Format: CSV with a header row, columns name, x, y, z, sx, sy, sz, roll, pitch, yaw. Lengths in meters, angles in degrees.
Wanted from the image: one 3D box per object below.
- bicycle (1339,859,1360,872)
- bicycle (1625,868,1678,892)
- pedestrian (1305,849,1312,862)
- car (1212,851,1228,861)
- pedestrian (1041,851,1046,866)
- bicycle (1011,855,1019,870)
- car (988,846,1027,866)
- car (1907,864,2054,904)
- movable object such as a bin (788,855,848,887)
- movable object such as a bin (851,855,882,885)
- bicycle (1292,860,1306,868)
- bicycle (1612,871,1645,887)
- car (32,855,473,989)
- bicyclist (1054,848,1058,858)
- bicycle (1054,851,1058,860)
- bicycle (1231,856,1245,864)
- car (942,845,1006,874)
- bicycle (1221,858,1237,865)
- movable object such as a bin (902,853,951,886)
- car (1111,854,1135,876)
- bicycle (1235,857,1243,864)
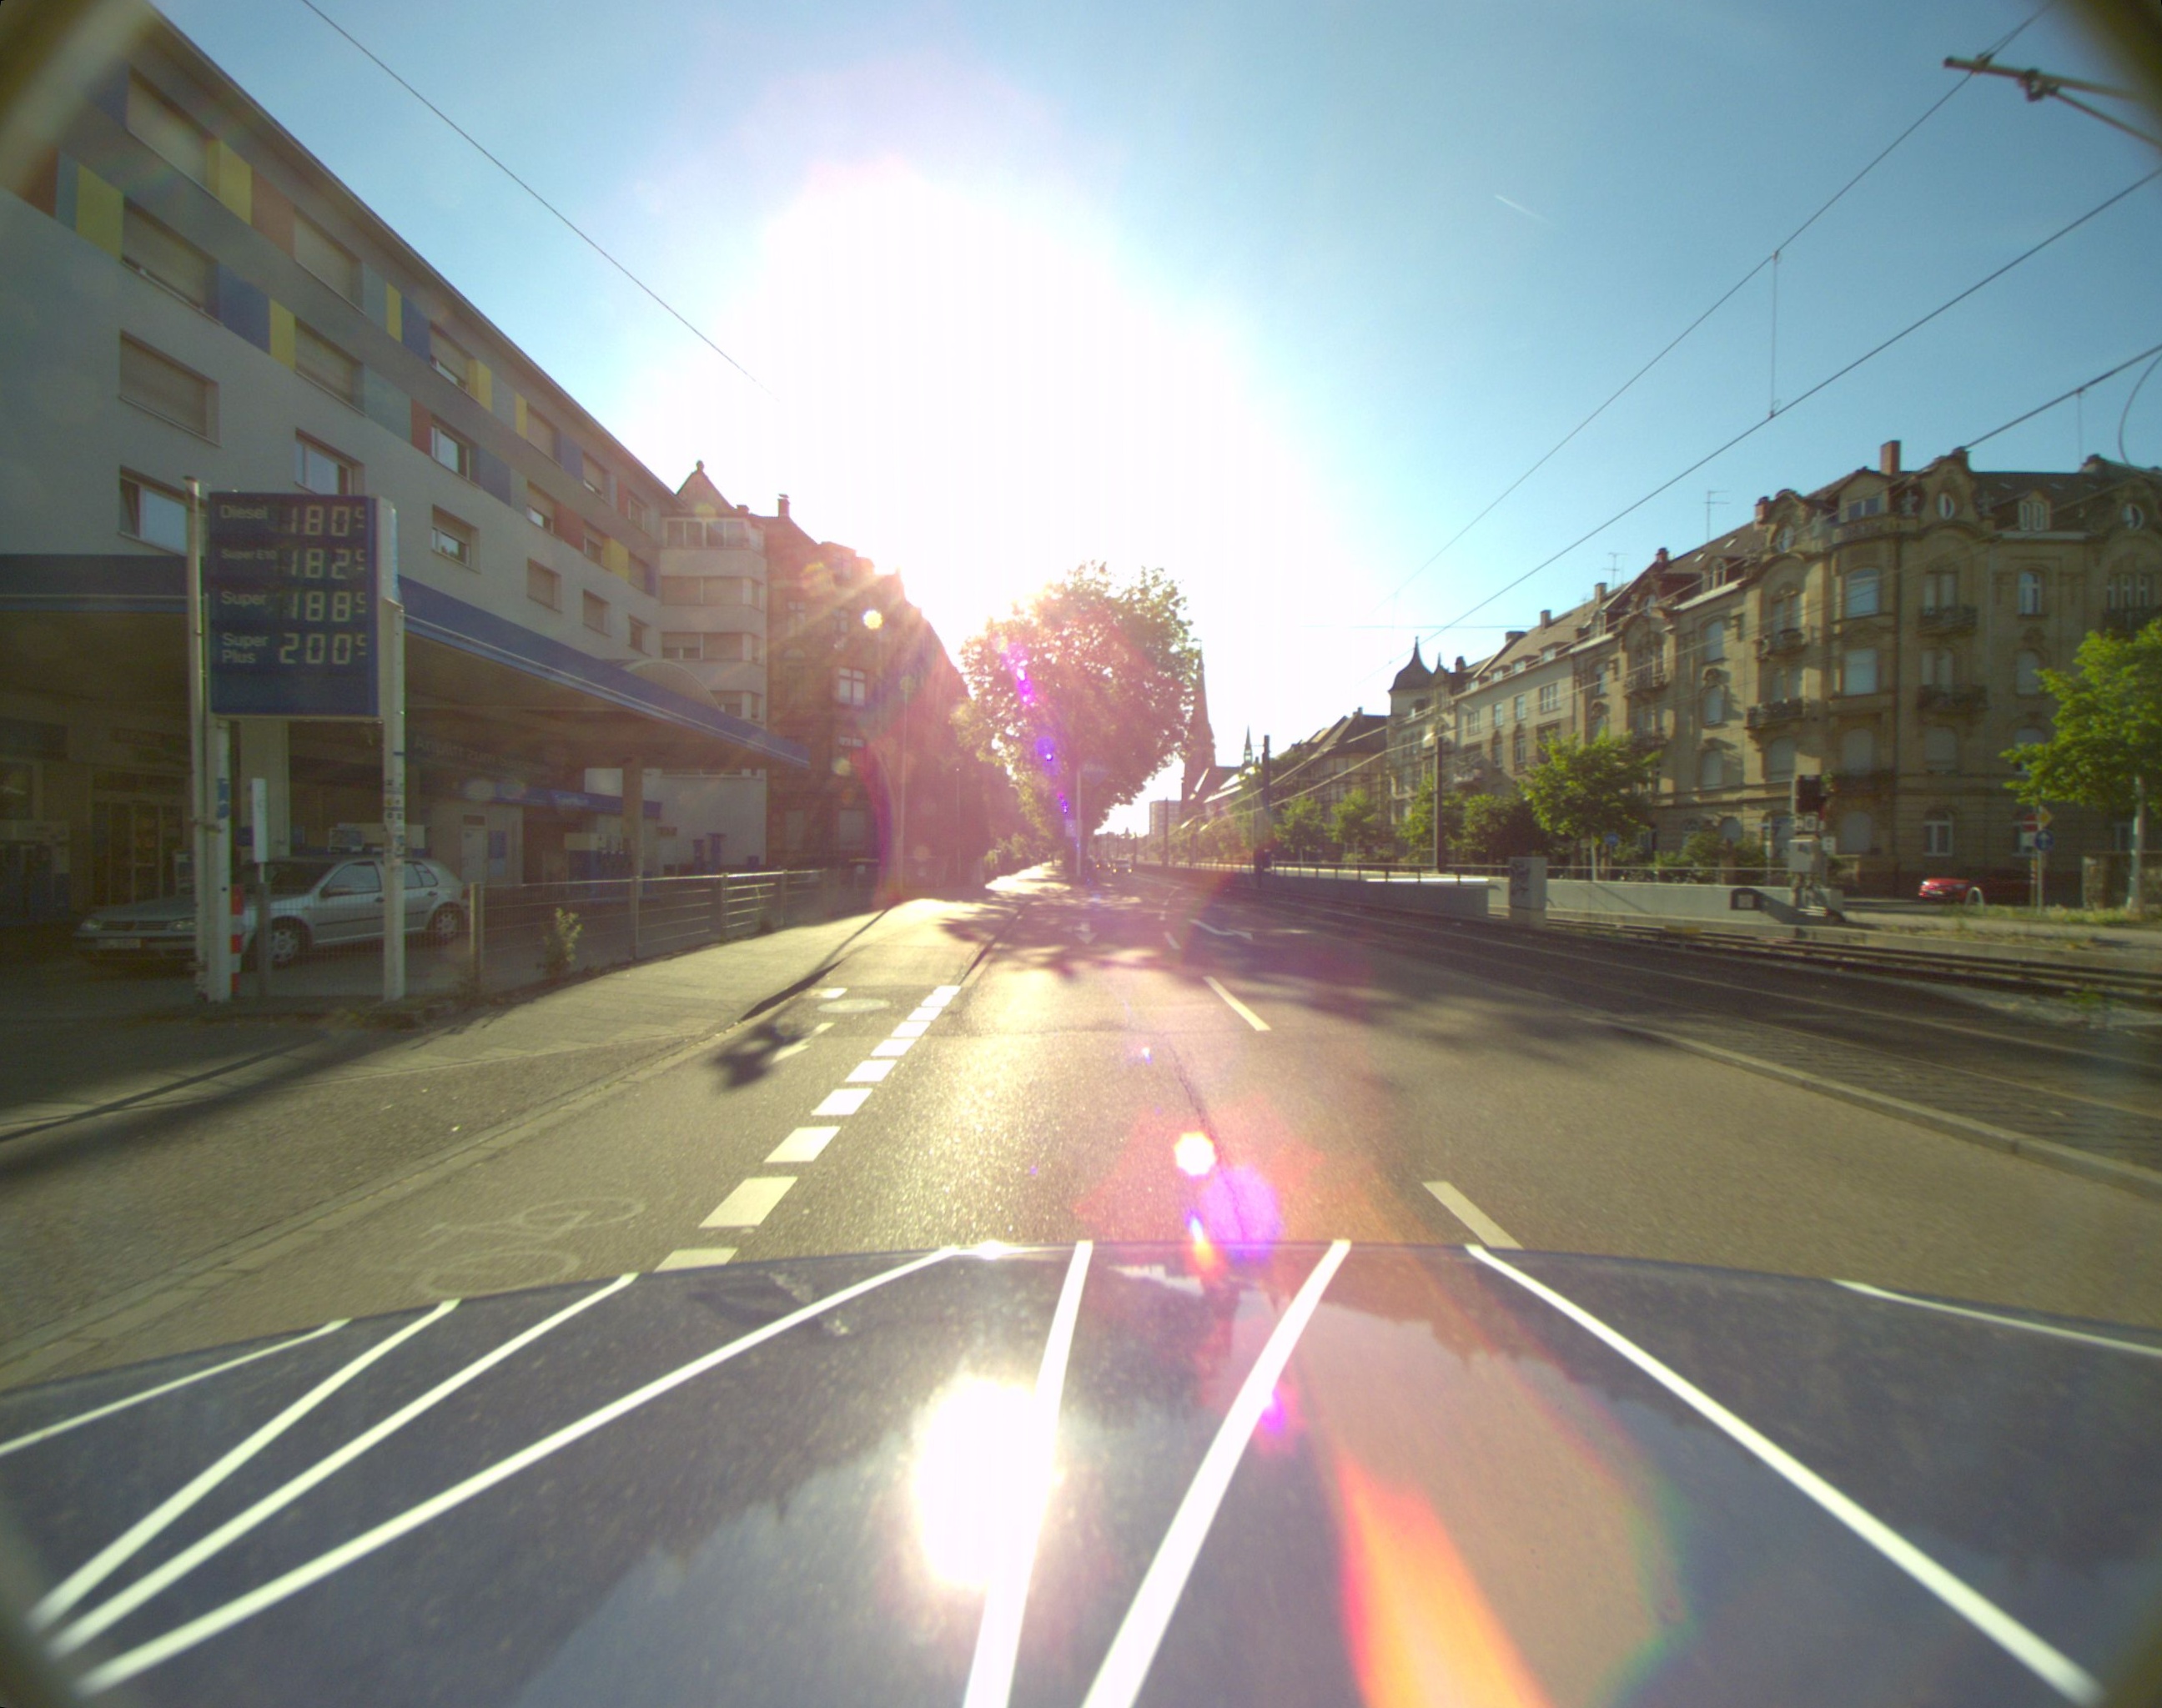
name,x,y,z,sx,sy,sz,roll,pitch,yaw
bicycle,25.221,1.068,71.434,1.734,1.272,0.600,0,1,5
bicycle,25.868,1.177,34.502,0.487,1.016,1.889,-3,0,-25
pedestrian,30.574,0.222,102.077,0.720,1.679,0.865,-2,1,5
car,23.983,0.329,130.945,1.837,1.576,3.999,-2,0,-3
pedestrian,-4.977,0.565,100.909,0.674,2.002,0.633,1,1,-1
bicycle,-5.595,0.692,64.315,0.338,1.242,1.767,-2,0,3
car,-8.192,0.199,84.822,4.187,2.002,1.999,3,0,-3
car,36.986,1.208,31.297,3.998,1.560,1.819,1,0,-2
movable object such as a bin,-11.981,0.744,34.759,2.215,1.415,1.777,0,0,-5
movable object such as a bin,-10.041,0.762,35.651,1.189,1.381,1.028,0,0,-3
bicycle,28.130,1.304,98.210,0.456,1.000,1.939,-3,4,-32
bicycle,29.048,1.310,40.365,0.417,0.795,1.887,-2,0,2
car,-10.675,0.746,10.339,1.571,1.422,4.097,0,0,-2
bicyclist,-3.868,-0.170,116.103,0.544,1.372,0.644,-4,-1,-3
bicycle,-3.852,0.243,116.087,0.562,1.171,2.226,-3,-2,-3
bicycle,24.457,0.982,118.671,2.379,1.092,0.556,-2,1,-31
car,-8.124,0.398,57.916,4.585,2.002,1.914,2,1,-1
bicycle,23.953,1.189,123.135,2.791,1.092,0.641,-2,1,-33
movable object such as a bin,-7.184,0.701,35.449,2.041,1.482,1.745,0,0,-5
car,3.869,1.019,69.683,1.823,1.728,4.002,-8,-2,4
bicycle,24.567,1.015,118.058,1.271,0.900,0.538,-2,1,-31
